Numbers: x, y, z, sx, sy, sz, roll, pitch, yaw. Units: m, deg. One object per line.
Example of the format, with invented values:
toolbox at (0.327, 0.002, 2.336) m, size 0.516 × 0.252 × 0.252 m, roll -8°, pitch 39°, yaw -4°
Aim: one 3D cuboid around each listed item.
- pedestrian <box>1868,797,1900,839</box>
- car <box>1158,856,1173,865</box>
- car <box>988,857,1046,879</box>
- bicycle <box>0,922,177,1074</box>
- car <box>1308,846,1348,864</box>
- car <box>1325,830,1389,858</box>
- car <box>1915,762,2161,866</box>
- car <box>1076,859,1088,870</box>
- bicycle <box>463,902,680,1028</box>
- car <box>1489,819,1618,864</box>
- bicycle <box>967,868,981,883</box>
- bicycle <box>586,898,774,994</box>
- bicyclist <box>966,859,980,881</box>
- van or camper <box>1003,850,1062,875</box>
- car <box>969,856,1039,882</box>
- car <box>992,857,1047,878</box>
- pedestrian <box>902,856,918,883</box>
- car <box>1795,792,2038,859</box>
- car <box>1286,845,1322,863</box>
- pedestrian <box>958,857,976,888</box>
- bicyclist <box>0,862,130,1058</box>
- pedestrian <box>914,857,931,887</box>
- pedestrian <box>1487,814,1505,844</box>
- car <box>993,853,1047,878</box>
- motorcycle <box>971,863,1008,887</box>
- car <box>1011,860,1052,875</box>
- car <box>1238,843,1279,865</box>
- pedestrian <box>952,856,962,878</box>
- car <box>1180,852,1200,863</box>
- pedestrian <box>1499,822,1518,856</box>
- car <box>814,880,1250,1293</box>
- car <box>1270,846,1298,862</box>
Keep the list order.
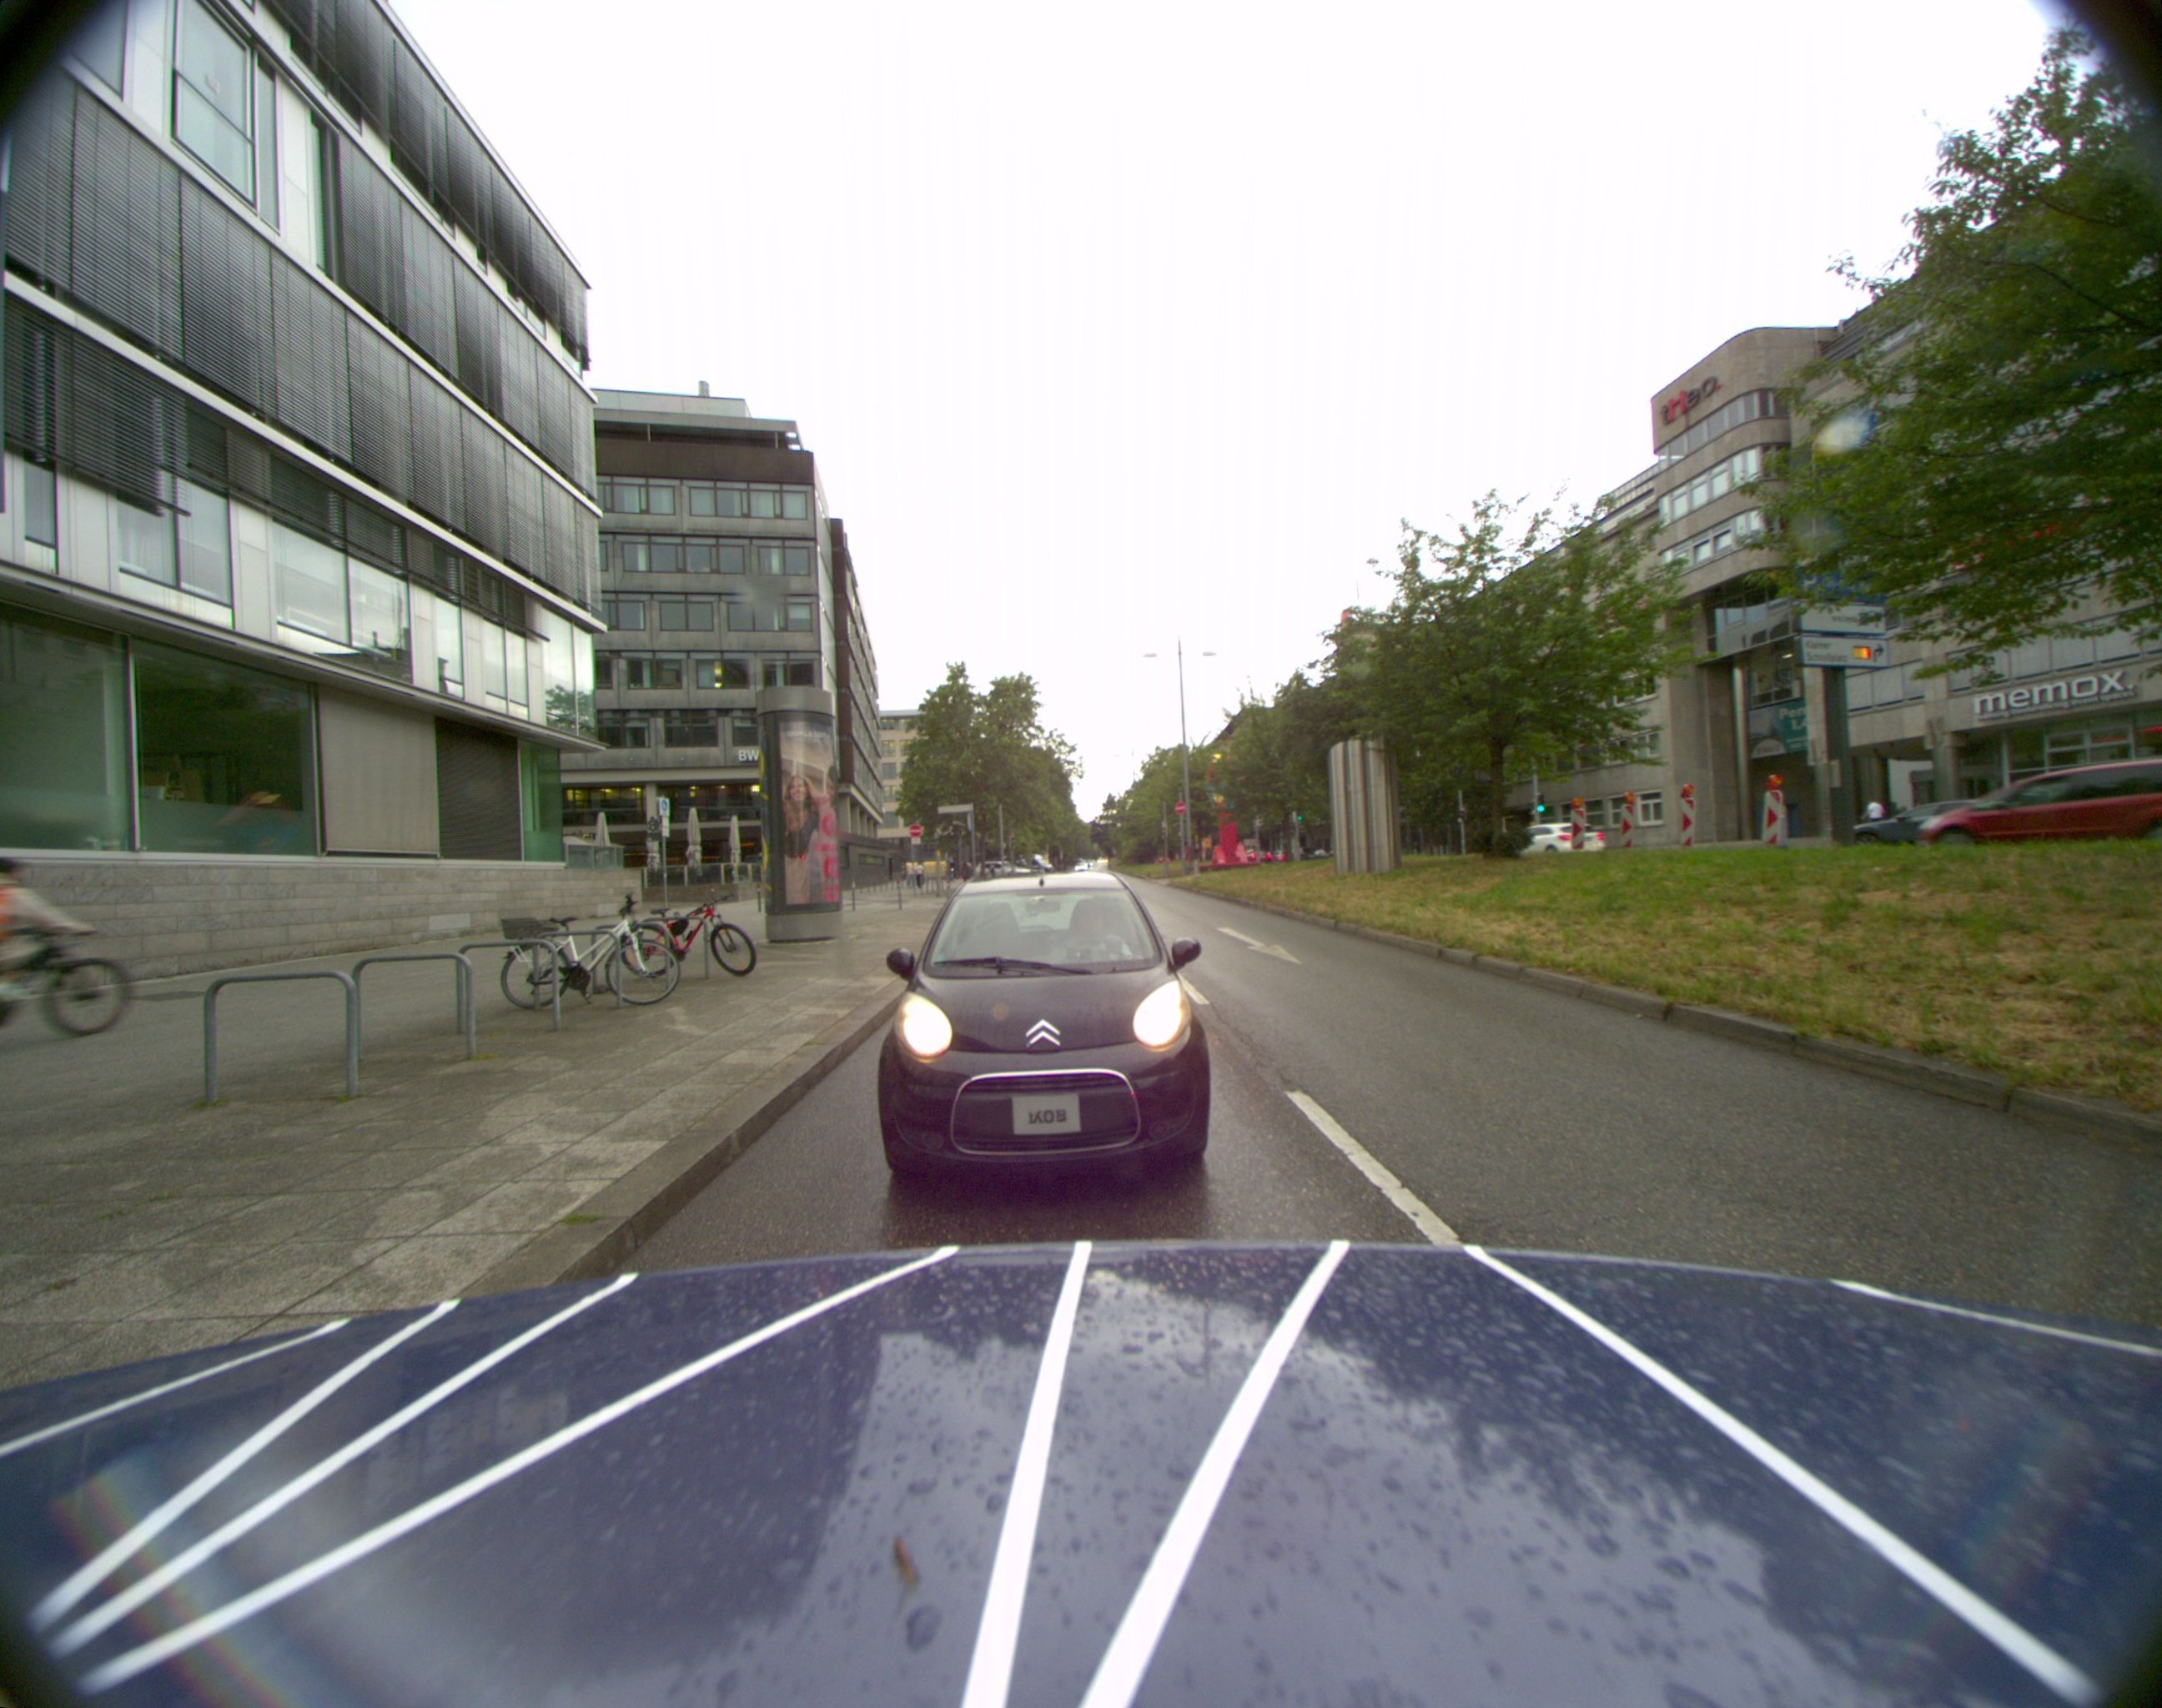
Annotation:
pedestrian at (34.664, -1.546, 32.815) m, size 0.721 × 1.777 × 0.529 m, roll -3°, pitch 0°, yaw -2°
car at (13.950, 1.089, 125.986) m, size 1.866 × 1.421 × 4.566 m, roll -2°, pitch 0°, yaw -1°
car at (-5.379, 1.194, 63.666) m, size 4.347 × 1.528 × 1.919 m, roll -4°, pitch 0°, yaw 27°
bicycle at (-9.374, 1.248, 6.575) m, size 1.012 × 1.107 × 2.064 m, roll -3°, pitch 0°, yaw -18°
car at (21.678, 0.102, 66.918) m, size 1.867 × 1.421 × 4.565 m, roll -2°, pitch 0°, yaw -3°
car at (16.292, -0.573, 45.041) m, size 1.873 × 1.466 × 3.997 m, roll -3°, pitch 0°, yaw -8°
car at (18.576, -0.699, 13.671) m, size 1.730 × 1.717 × 4.579 m, roll -3°, pitch 0°, yaw -8°
car at (0.143, 1.720, 127.134) m, size 1.791 × 1.736 × 4.574 m, roll -2°, pitch 0°, yaw -3°
bicycle at (-5.298, 1.142, 7.965) m, size 1.840 × 1.190 × 0.660 m, roll -1°, pitch 0°, yaw 4°
car at (17.607, -0.417, 28.585) m, size 1.825 × 1.466 × 4.190 m, roll -3°, pitch 0°, yaw -8°
bicycle at (-8.914, 1.785, 63.248) m, size 0.776 × 1.132 × 1.978 m, roll -6°, pitch 0°, yaw 1°
bicycle at (-5.138, 1.165, 9.817) m, size 1.988 × 1.097 × 0.808 m, roll -2°, pitch 0°, yaw 4°
bicyclist at (-8.971, 1.345, 63.186) m, size 0.811 × 1.739 × 1.079 m, roll -6°, pitch 2°, yaw 2°
van or camper at (-5.526, 1.016, 86.370) m, size 6.250 × 2.432 × 2.319 m, roll -4°, pitch 0°, yaw 30°
car at (-5.646, 1.104, 55.610) m, size 4.792 × 1.640 × 1.920 m, roll -4°, pitch 0°, yaw 30°
car at (-5.376, 1.200, 66.375) m, size 4.381 × 1.528 × 1.919 m, roll -4°, pitch 0°, yaw 27°
pedestrian at (-11.813, 1.071, 52.510) m, size 0.803 × 1.857 × 0.898 m, roll -3°, pitch 0°, yaw 0°
car at (24.705, -0.762, 22.813) m, size 1.867 × 1.715 × 4.791 m, roll -2°, pitch 0°, yaw -3°
car at (21.075, 0.002, 72.105) m, size 1.867 × 1.612 × 4.467 m, roll -2°, pitch 0°, yaw -3°
pedestrian at (-6.351, 1.048, 42.379) m, size 0.528 × 1.675 × 0.723 m, roll -3°, pitch 0°, yaw 41°
bicyclist at (-9.357, 0.904, 6.461) m, size 1.015 × 1.573 × 1.134 m, roll -5°, pitch 1°, yaw -17°
pedestrian at (-10.927, 1.247, 52.464) m, size 0.851 × 2.027 × 0.753 m, roll -3°, pitch 0°, yaw 7°
pedestrian at (23.063, -1.377, 42.255) m, size 0.607 × 1.619 × 0.620 m, roll -3°, pitch 0°, yaw 1°
car at (-5.540, 1.061, 69.257) m, size 4.507 × 1.981 × 1.925 m, roll -4°, pitch 0°, yaw 29°
motorcycle at (-5.548, 1.270, 46.057) m, size 2.087 × 1.349 × 0.677 m, roll -3°, pitch 0°, yaw 7°
car at (-5.389, 1.448, 82.704) m, size 4.052 × 1.415 × 1.711 m, roll -4°, pitch 0°, yaw 29°
car at (15.026, 0.007, 64.480) m, size 1.951 × 1.690 × 3.997 m, roll -3°, pitch 0°, yaw -8°
pedestrian at (-10.765, 1.133, 66.132) m, size 0.721 × 1.873 × 0.656 m, roll -3°, pitch 0°, yaw -6°
car at (14.391, 0.460, 100.119) m, size 1.866 × 1.421 × 4.132 m, roll -2°, pitch 0°, yaw -2°
pedestrian at (23.330, -0.812, 41.450) m, size 0.529 × 1.777 × 0.721 m, roll -3°, pitch 0°, yaw 1°
car at (-0.243, 0.973, 4.898) m, size 1.634 × 1.408 × 3.834 m, roll -3°, pitch 0°, yaw -2°
car at (20.564, 0.056, 77.094) m, size 1.690 × 1.493 × 3.692 m, roll -2°, pitch 0°, yaw -3°
